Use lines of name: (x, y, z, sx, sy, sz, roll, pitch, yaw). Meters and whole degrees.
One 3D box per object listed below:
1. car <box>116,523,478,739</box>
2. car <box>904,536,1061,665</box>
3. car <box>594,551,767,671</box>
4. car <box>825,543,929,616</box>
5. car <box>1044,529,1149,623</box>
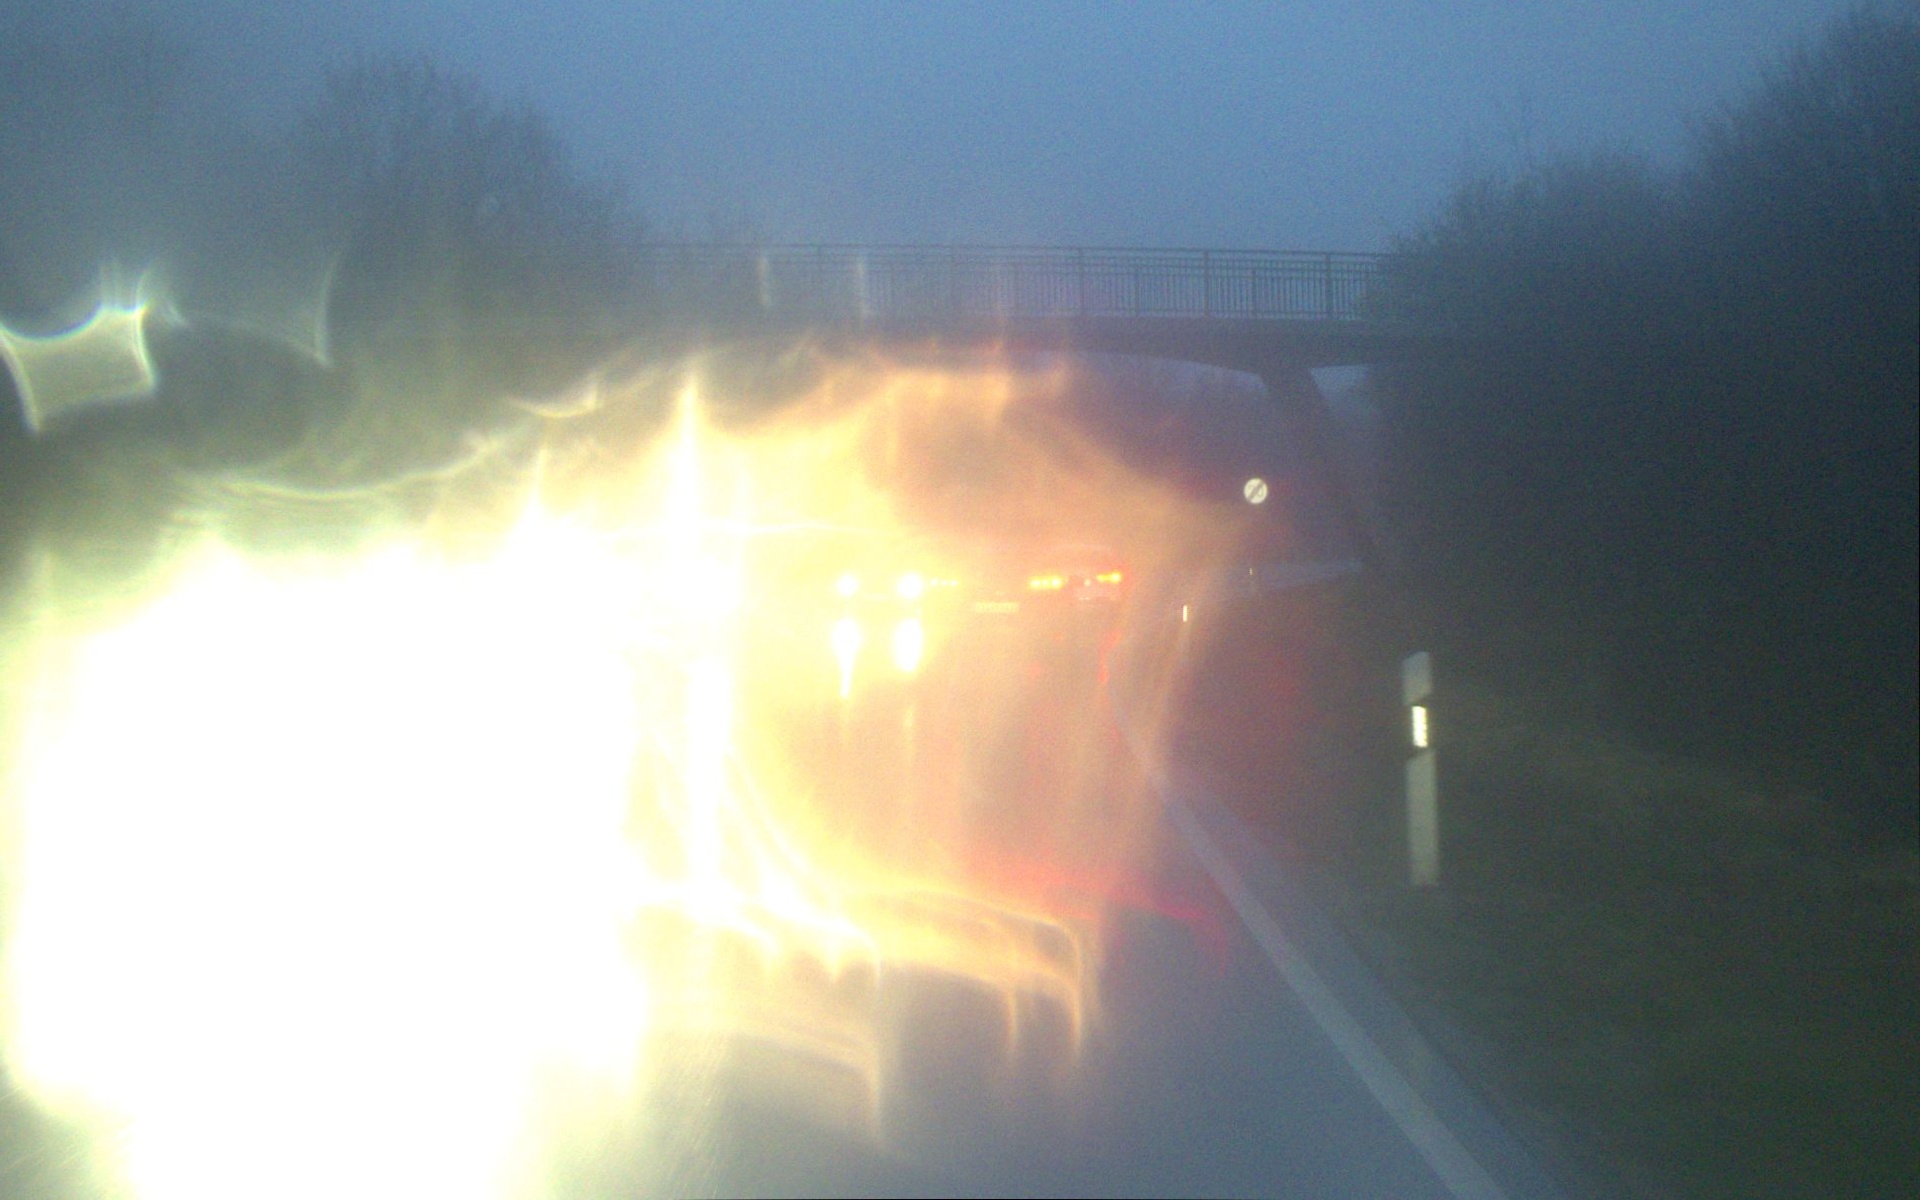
car: (-5.434, 0.188, 28.803, 1.902, 1.642, 4.727, 1, 1, 3)
car: (0.305, -0.032, 39.510, 1.679, 1.385, 4.098, -1, 1, 2)
car: (-3.944, 0.141, 49.204, 1.860, 1.641, 4.467, 0, 0, 3)
car: (-1.666, -0.438, 70.621, 1.804, 1.448, 4.378, 0, 1, 3)
car: (2.569, -0.471, 63.843, 1.679, 1.669, 4.097, -1, 1, 6)
